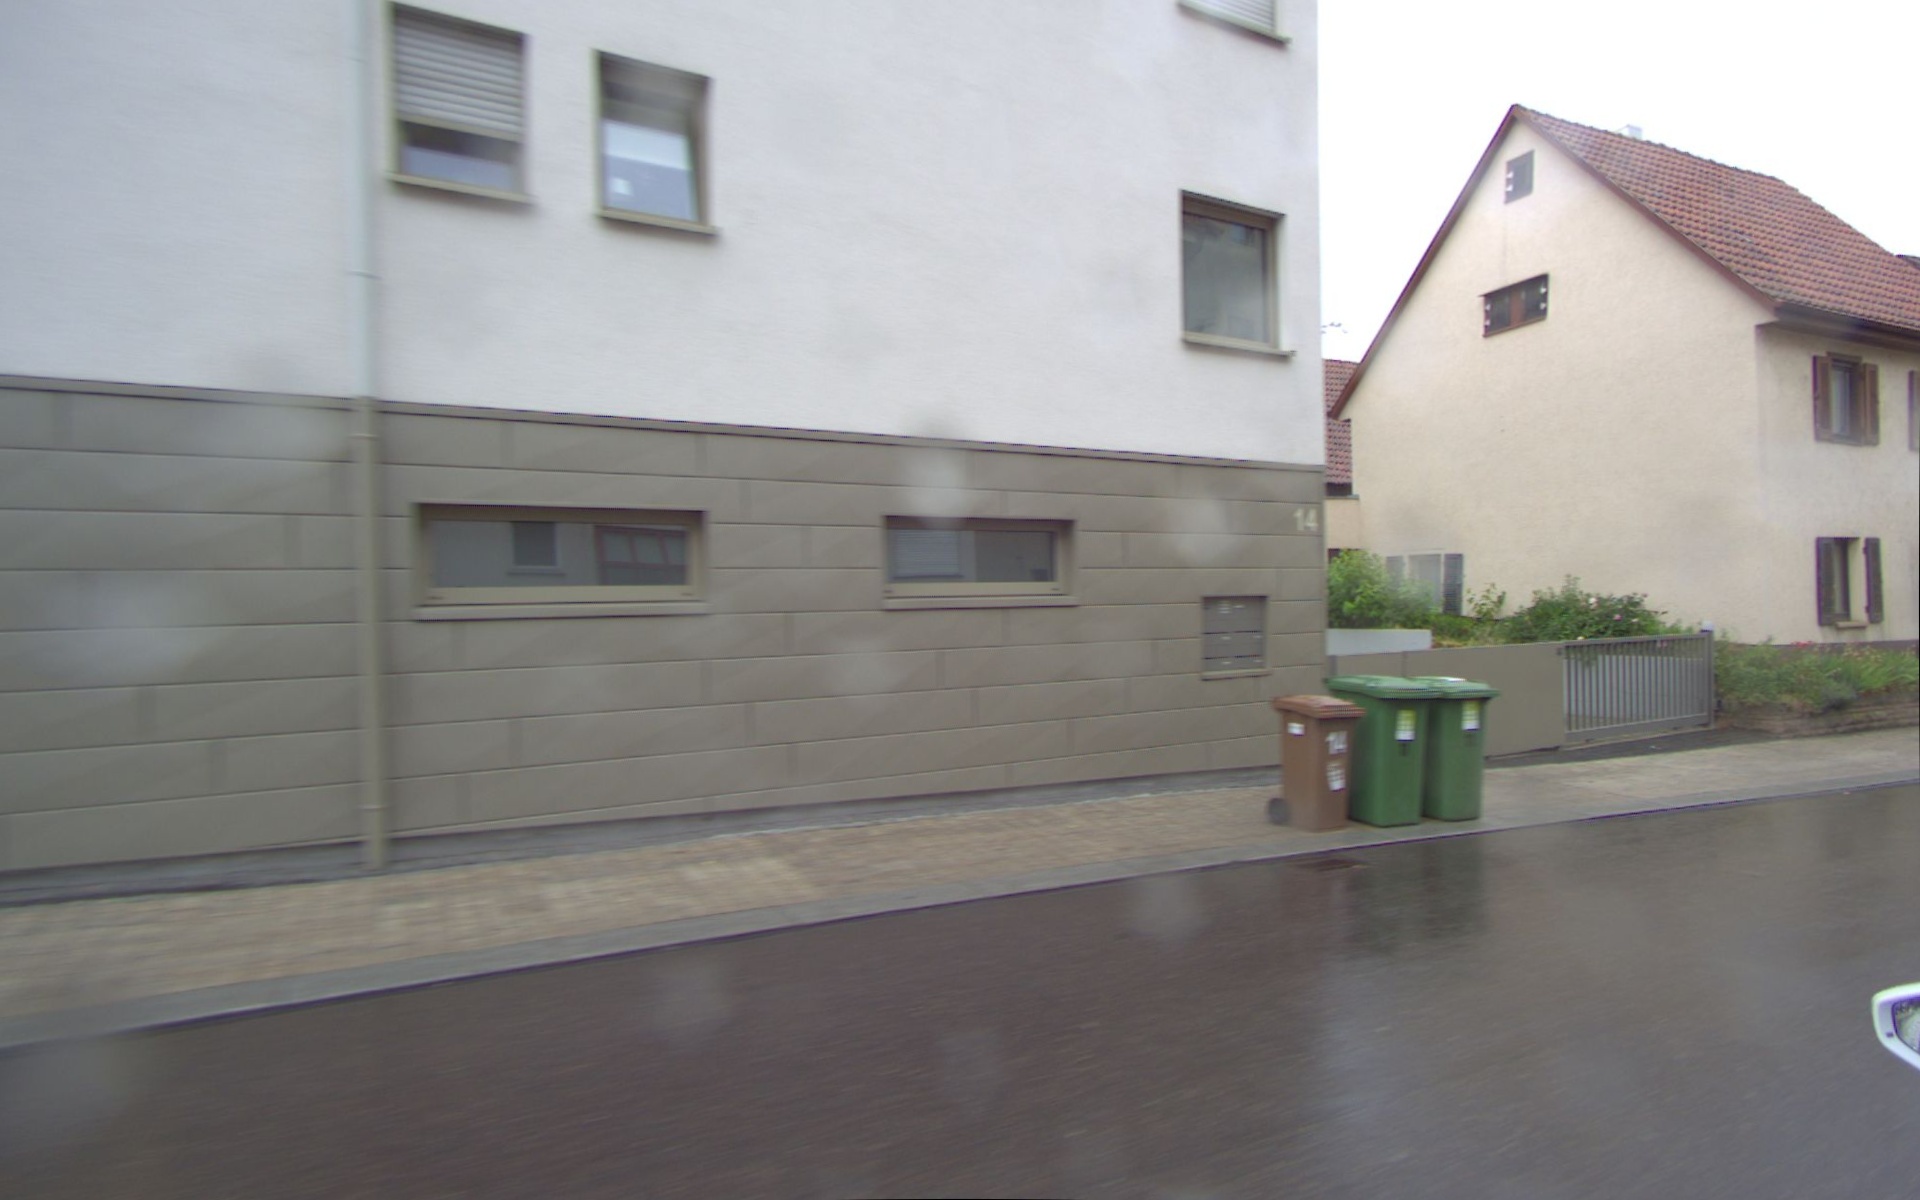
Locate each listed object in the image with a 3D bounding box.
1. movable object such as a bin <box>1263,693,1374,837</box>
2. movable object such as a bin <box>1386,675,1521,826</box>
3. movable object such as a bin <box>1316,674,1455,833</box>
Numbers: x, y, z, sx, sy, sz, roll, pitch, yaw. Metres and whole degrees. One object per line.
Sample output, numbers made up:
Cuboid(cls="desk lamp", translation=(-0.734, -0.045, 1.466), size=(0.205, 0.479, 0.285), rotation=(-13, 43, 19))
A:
Cuboid(cls="movable object such as a bin", translation=(2.607, 1.177, 7.320), size=(0.572, 0.935, 0.504), rotation=(1, 0, -28))
Cuboid(cls="movable object such as a bin", translation=(3.866, 1.150, 7.890), size=(0.652, 1.059, 0.679), rotation=(1, 0, -26))
Cuboid(cls="movable object such as a bin", translation=(3.225, 1.132, 7.643), size=(0.685, 1.080, 0.679), rotation=(1, 0, -26))
